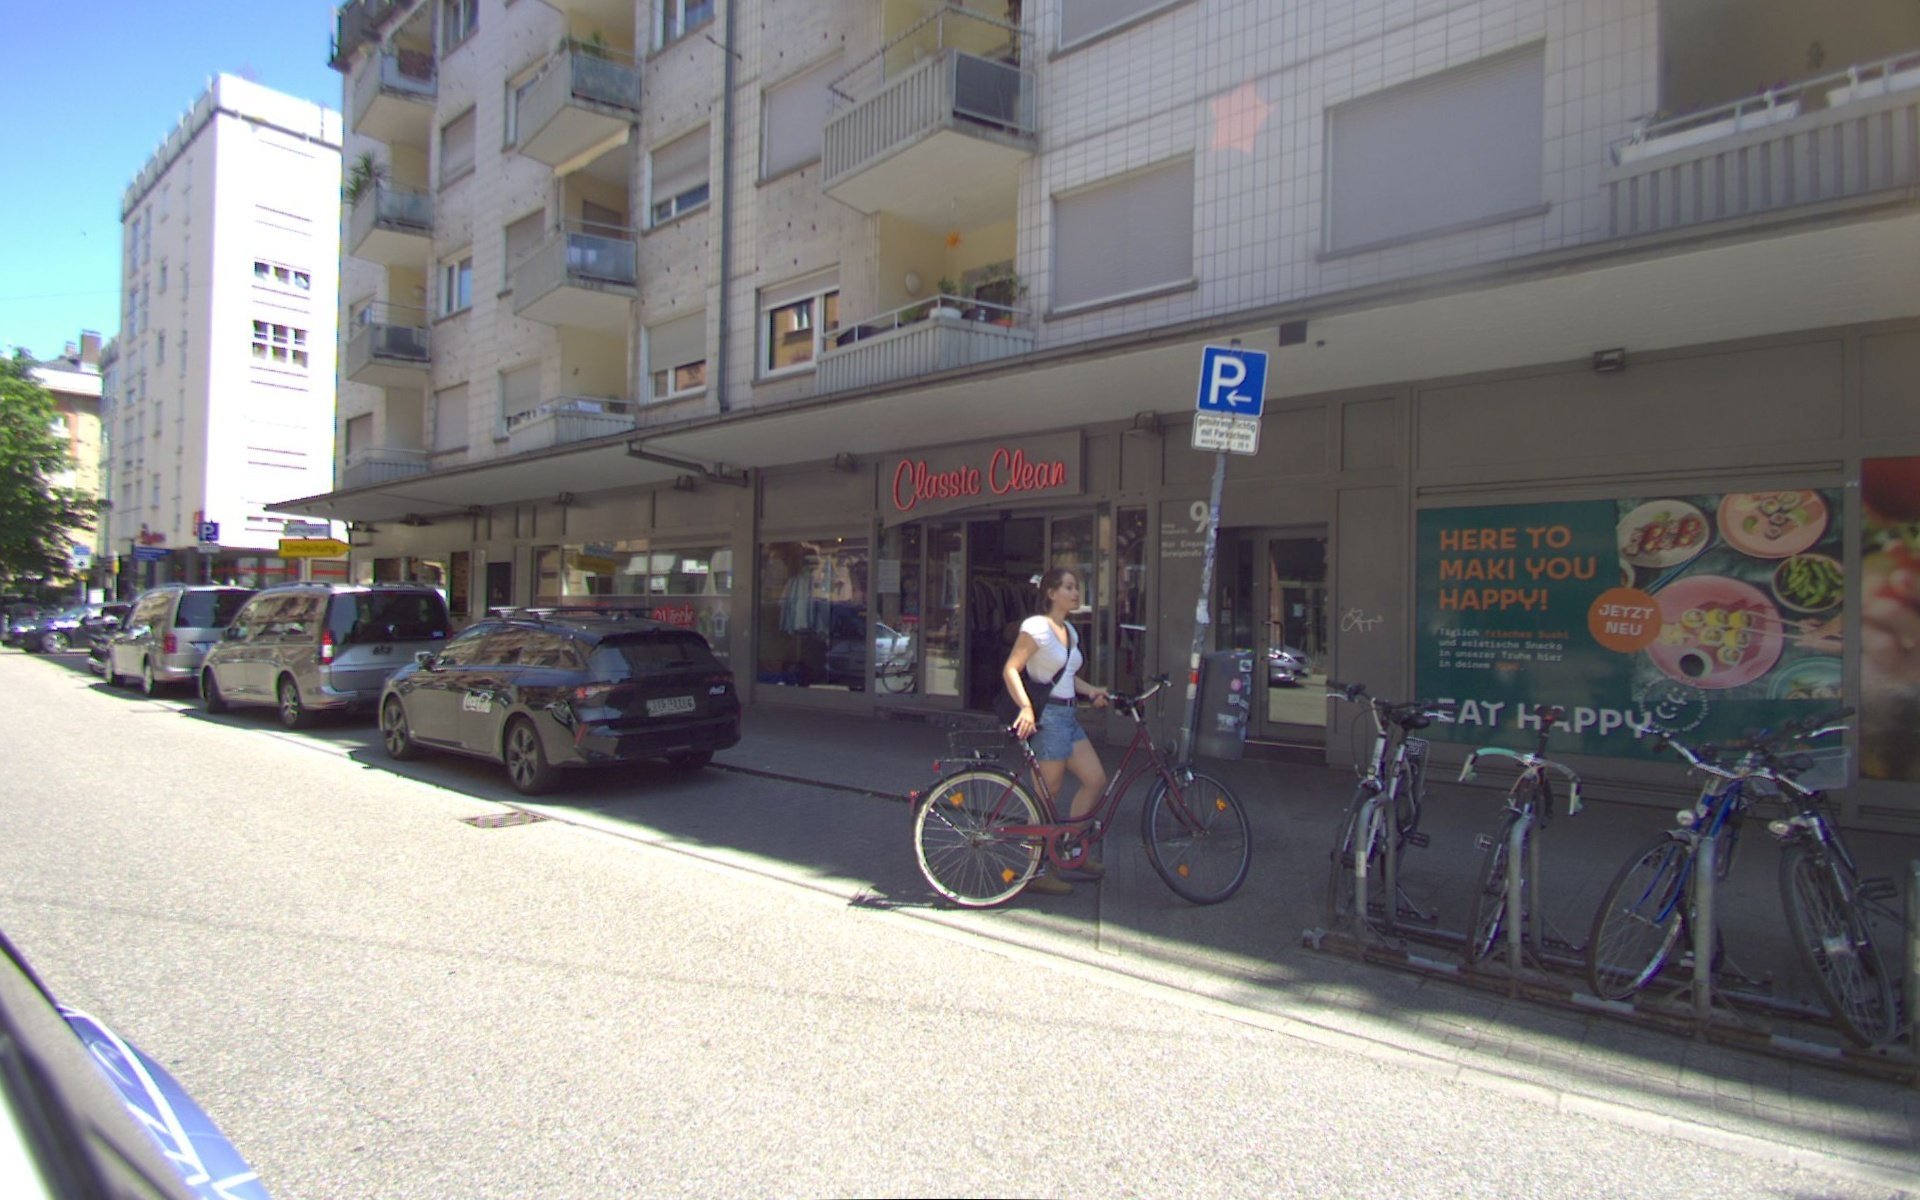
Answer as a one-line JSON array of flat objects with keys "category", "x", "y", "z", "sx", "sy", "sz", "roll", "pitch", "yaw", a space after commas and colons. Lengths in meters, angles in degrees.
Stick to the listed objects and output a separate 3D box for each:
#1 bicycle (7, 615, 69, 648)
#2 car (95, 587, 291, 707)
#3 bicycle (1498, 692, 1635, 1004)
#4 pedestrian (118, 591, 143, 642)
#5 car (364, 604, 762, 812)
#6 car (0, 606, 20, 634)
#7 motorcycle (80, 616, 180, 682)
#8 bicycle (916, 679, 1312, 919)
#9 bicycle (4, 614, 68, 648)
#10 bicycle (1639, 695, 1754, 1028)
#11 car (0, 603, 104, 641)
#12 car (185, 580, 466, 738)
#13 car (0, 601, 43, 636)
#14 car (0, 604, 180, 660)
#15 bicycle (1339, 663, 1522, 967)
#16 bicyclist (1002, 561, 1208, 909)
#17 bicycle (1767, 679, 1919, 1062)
[{"category": "bicycle", "x": -32.113, "y": 1.089, "z": 35.280, "sx": 1.586, "sy": 1.099, "sz": 0.371, "roll": 0, "pitch": 0, "yaw": -44}, {"category": "car", "x": -13.642, "y": 0.740, "z": 17.875, "sx": 4.897, "sy": 1.843, "sz": 1.770, "roll": 0, "pitch": -1, "yaw": 41}, {"category": "bicycle", "x": 2.768, "y": 1.006, "z": 4.565, "sx": 0.397, "sy": 1.038, "sz": 1.480, "roll": 0, "pitch": 1, "yaw": 36}, {"category": "pedestrian", "x": -35.413, "y": 0.705, "z": 43.198, "sx": 0.599, "sy": 2.141, "sz": 0.496, "roll": 1, "pitch": -2, "yaw": -14}, {"category": "car", "x": -3.924, "y": 0.816, "z": 9.585, "sx": 4.462, "sy": 1.536, "sz": 1.652, "roll": 0, "pitch": -1, "yaw": 41}, {"category": "car", "x": -52.945, "y": 1.030, "z": 54.045, "sx": 1.651, "sy": 1.507, "sz": 3.836, "roll": 0, "pitch": -2, "yaw": 40}, {"category": "motorcycle", "x": -16.722, "y": 0.979, "z": 20.406, "sx": 1.530, "sy": 1.293, "sz": 0.395, "roll": 0, "pitch": 0, "yaw": -17}, {"category": "bicycle", "x": 0.745, "y": 0.989, "z": 5.216, "sx": 1.912, "sy": 1.100, "sz": 0.605, "roll": 1, "pitch": -1, "yaw": -1}, {"category": "bicycle", "x": -31.400, "y": 1.044, "z": 34.399, "sx": 1.586, "sy": 1.099, "sz": 0.371, "roll": 0, "pitch": 0, "yaw": -44}, {"category": "bicycle", "x": 3.110, "y": 0.995, "z": 4.285, "sx": 0.335, "sy": 1.043, "sz": 1.435, "roll": 0, "pitch": 1, "yaw": 36}, {"category": "car", "x": -38.803, "y": 0.927, "z": 42.736, "sx": 1.651, "sy": 1.540, "sz": 3.836, "roll": 0, "pitch": -2, "yaw": 40}, {"category": "car", "x": -8.798, "y": 0.702, "z": 13.868, "sx": 4.692, "sy": 1.825, "sz": 1.772, "roll": 0, "pitch": -1, "yaw": 38}, {"category": "car", "x": -48.559, "y": 0.923, "z": 50.580, "sx": 1.651, "sy": 1.760, "sz": 3.836, "roll": 0, "pitch": -2, "yaw": 40}, {"category": "car", "x": -24.581, "y": 0.888, "z": 28.409, "sx": 1.809, "sy": 1.436, "sz": 3.849, "roll": 0, "pitch": -2, "yaw": 32}, {"category": "bicycle", "x": 2.363, "y": 0.941, "z": 4.991, "sx": 0.526, "sy": 1.148, "sz": 1.569, "roll": 0, "pitch": 1, "yaw": 36}, {"category": "bicyclist", "x": 0.740, "y": 0.679, "z": 5.359, "sx": 0.964, "sy": 1.719, "sz": 0.625, "roll": 1, "pitch": -2, "yaw": -2}, {"category": "bicycle", "x": 3.455, "y": 0.939, "z": 4.005, "sx": 0.335, "sy": 1.125, "sz": 1.505, "roll": 0, "pitch": 1, "yaw": 36}]
